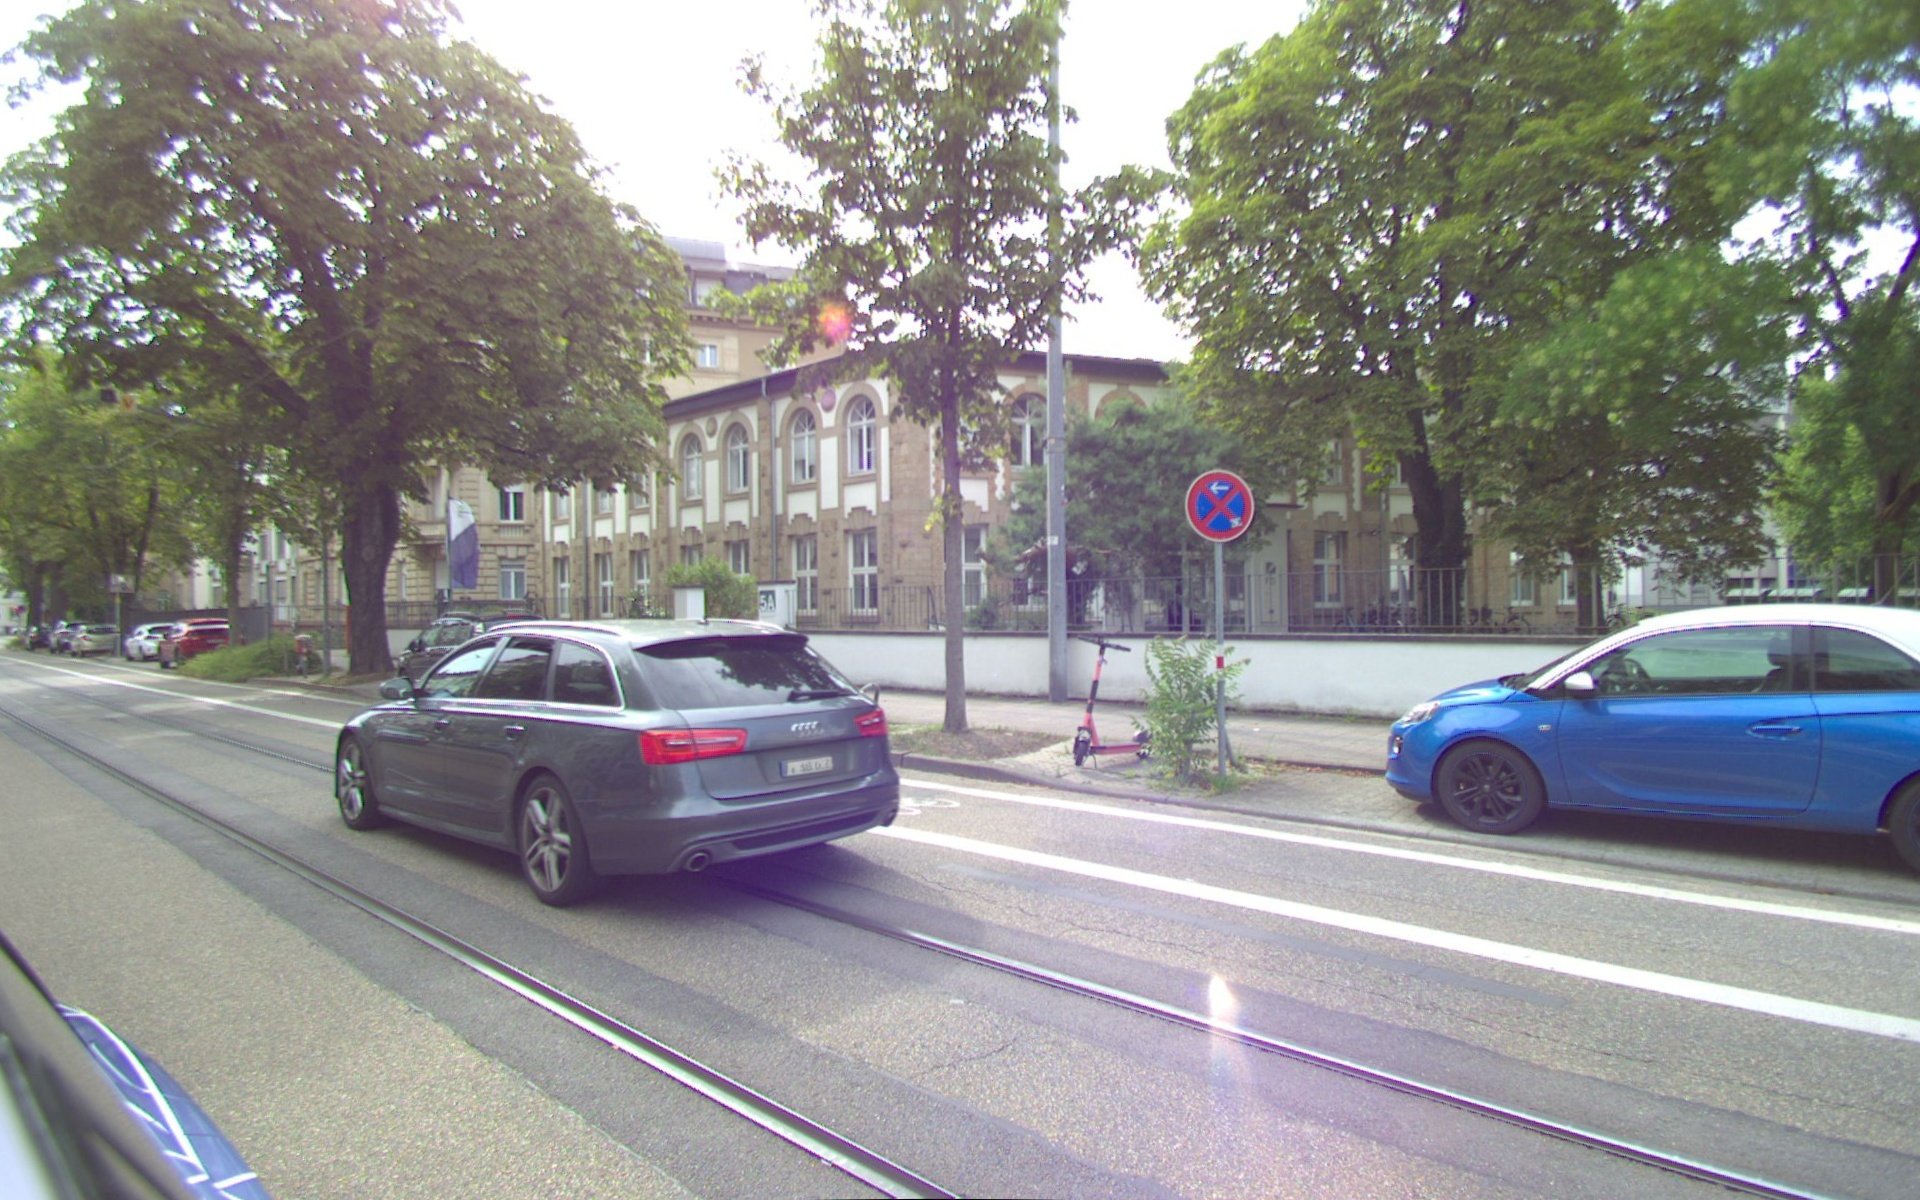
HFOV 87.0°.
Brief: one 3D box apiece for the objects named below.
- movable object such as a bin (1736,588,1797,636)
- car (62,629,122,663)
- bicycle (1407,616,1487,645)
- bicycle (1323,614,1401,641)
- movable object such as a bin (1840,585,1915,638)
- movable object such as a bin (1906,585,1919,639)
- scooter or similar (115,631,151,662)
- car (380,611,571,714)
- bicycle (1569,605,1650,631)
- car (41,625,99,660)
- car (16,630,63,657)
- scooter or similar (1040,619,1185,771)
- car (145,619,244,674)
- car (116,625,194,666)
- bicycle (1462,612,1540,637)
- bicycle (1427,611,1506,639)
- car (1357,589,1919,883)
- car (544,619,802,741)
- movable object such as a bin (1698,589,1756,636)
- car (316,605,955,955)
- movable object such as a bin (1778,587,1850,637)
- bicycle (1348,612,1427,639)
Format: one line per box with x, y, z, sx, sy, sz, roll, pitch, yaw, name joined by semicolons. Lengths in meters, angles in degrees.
23.837;0.351;29.925;0.954;1.385;1.024;-2;0;-22;movable object such as a bin
-40.138;2.093;46.776;4.077;1.479;1.584;-2;-1;42;car
14.259;0.886;29.693;0.702;0.779;2.053;-2;0;-28;bicycle
11.305;0.755;28.532;0.702;0.713;2.053;-2;0;-28;bicycle
24.834;0.318;27.409;0.846;1.385;1.208;-2;0;-22;movable object such as a bin
25.261;0.303;26.017;0.846;1.385;1.097;-2;0;-22;movable object such as a bin
-34.634;1.949;42.375;1.313;1.232;0.559;-1;-1;19;scooter or similar
-9.059;1.080;18.795;4.050;1.659;1.737;-2;0;41;car
20.604;0.578;32.147;0.702;0.779;2.053;-2;0;-28;bicycle
-45.762;2.169;51.993;4.355;1.686;1.692;-2;-1;42;car
-54.611;2.548;60.018;4.166;1.435;1.701;-2;1;44;car
1.494;0.865;9.804;0.700;1.354;1.427;-2;-2;43;scooter or similar
-25.953;1.540;34.252;4.540;1.667;1.704;-2;1;41;car
-32.085;1.791;40.299;4.021;1.434;1.704;-2;1;41;car
16.584;0.764;31.055;2.042;0.713;0.706;-2;0;35;bicycle
15.066;0.747;30.183;0.702;0.779;2.053;-2;0;-28;bicycle
4.747;0.722;6.568;3.675;1.498;1.675;-2;0;41;car
-4.154;1.035;14.366;3.866;1.438;1.675;-2;0;41;car
23.449;0.364;30.949;0.954;1.385;1.024;-2;0;-22;movable object such as a bin
-2.335;0.811;6.470;4.551;1.459;1.815;-2;-1;41;car
24.244;0.337;28.742;0.954;1.385;1.208;-2;0;-22;movable object such as a bin
12.175;0.729;28.889;0.702;0.713;2.053;-2;0;-28;bicycle
